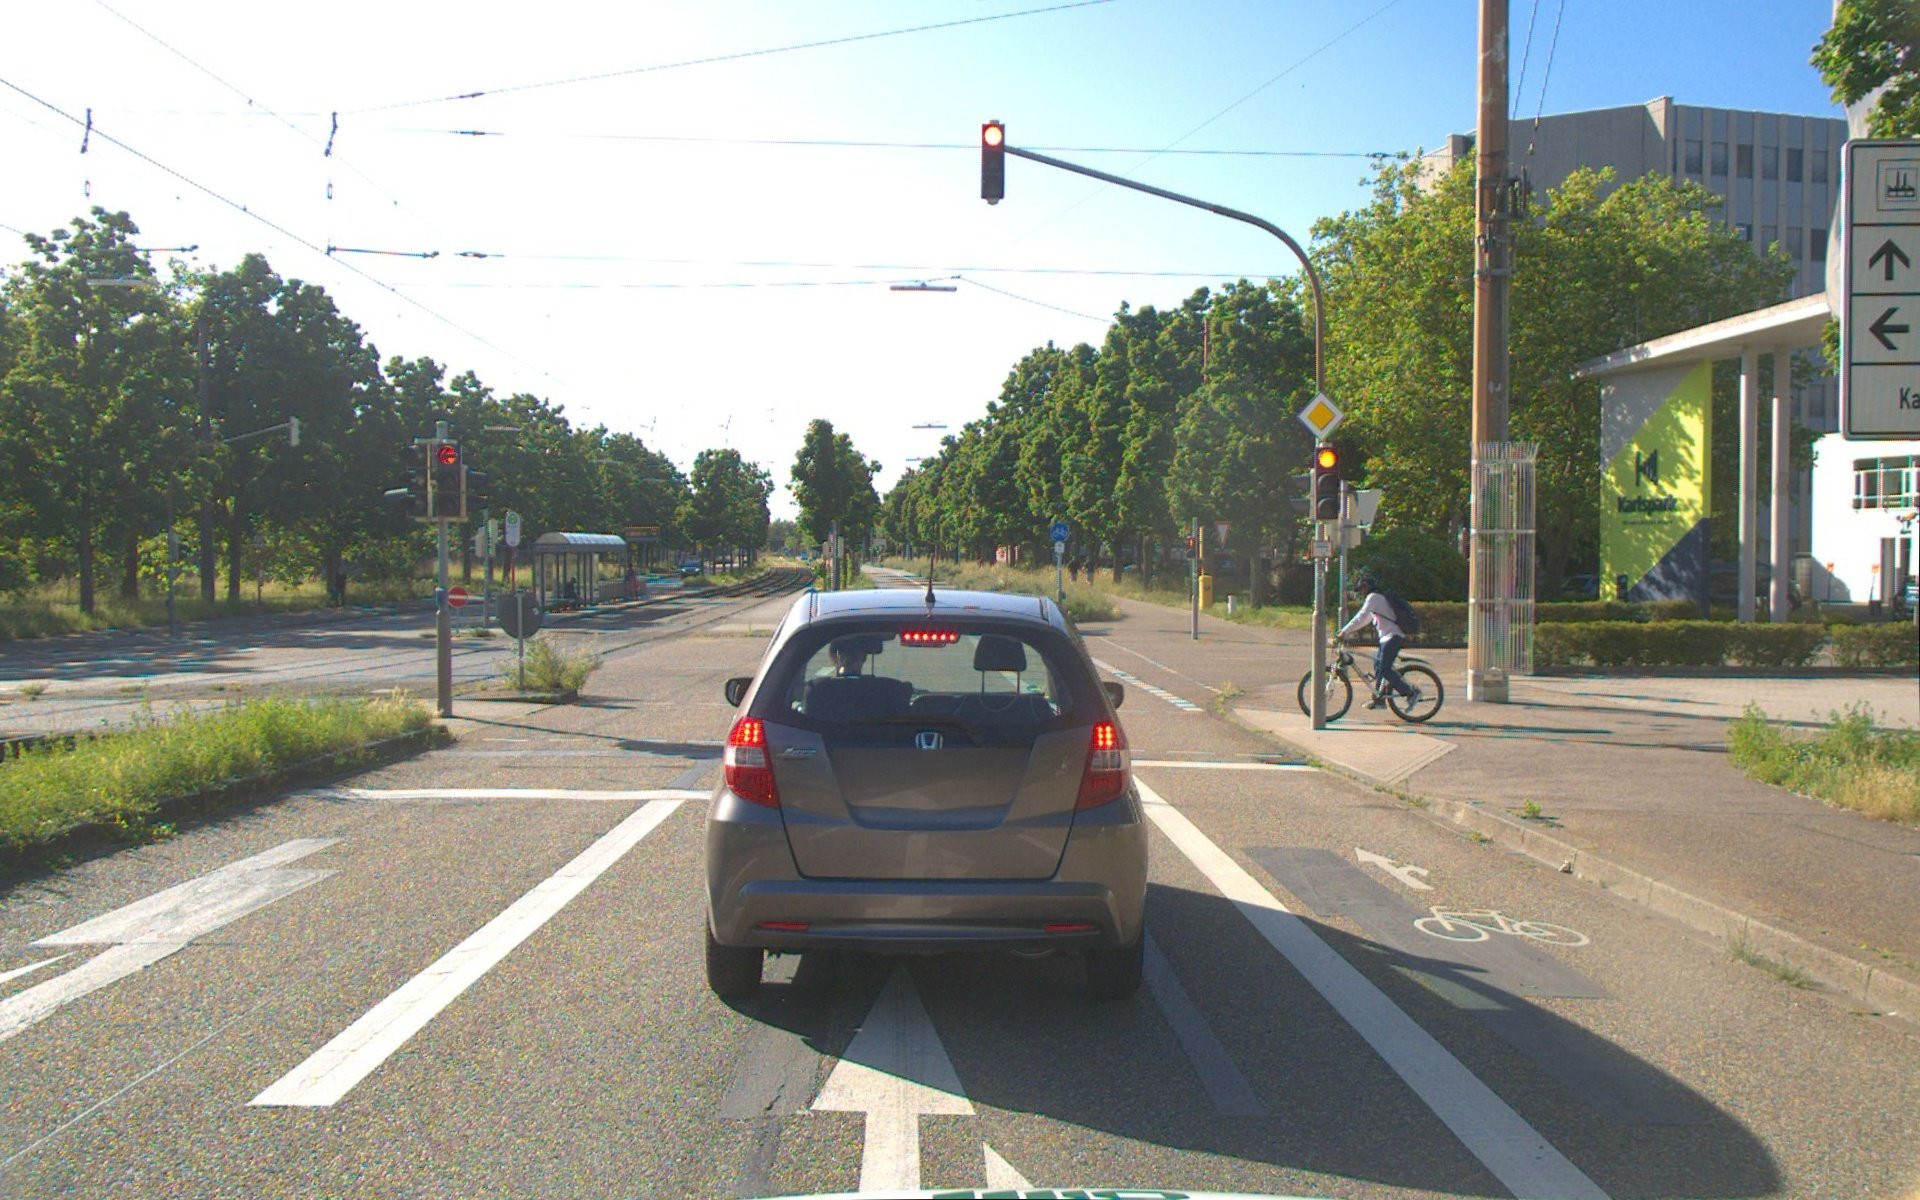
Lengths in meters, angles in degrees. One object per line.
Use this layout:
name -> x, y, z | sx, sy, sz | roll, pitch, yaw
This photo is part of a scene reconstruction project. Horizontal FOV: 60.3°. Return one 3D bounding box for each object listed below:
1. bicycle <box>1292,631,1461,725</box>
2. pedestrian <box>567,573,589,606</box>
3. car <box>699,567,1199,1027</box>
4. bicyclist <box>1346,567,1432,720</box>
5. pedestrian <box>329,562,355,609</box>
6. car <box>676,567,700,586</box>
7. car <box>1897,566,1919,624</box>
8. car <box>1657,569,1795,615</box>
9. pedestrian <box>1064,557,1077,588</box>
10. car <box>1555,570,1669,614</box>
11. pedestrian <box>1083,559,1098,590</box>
bicycle -> 4.940, 0.917, 19.712 | 1.879, 1.015, 0.765 | 1, 0, 10
pedestrian -> -15.116, -0.412, 65.401 | 0.706, 1.267, 0.710 | -1, 0, -3
car -> -0.042, 0.656, 7.601 | 1.672, 1.535, 4.000 | 1, 0, 0
bicyclist -> 5.091, 0.510, 19.684 | 0.890, 1.775, 0.765 | -1, 0, 10
pedestrian -> -27.046, -0.627, 72.394 | 0.823, 2.049, 0.863 | 0, 0, -3
car -> -25.578, -2.214, 155.519 | 1.731, 1.768, 3.998 | 0, 0, -3
car -> 31.051, -0.149, 50.559 | 3.915, 1.750, 1.895 | 0, 1, -10
car -> 28.097, -0.303, 60.703 | 4.459, 1.658, 1.870 | 0, 0, -14
pedestrian -> 5.847, -1.458, 87.488 | 0.556, 1.624, 0.665 | 1, 0, -5
car -> 26.667, -0.330, 67.698 | 3.919, 1.788, 1.993 | 0, 0, -14
pedestrian -> 6.899, -1.350, 87.543 | 0.664, 1.638, 0.720 | 1, 0, -3
